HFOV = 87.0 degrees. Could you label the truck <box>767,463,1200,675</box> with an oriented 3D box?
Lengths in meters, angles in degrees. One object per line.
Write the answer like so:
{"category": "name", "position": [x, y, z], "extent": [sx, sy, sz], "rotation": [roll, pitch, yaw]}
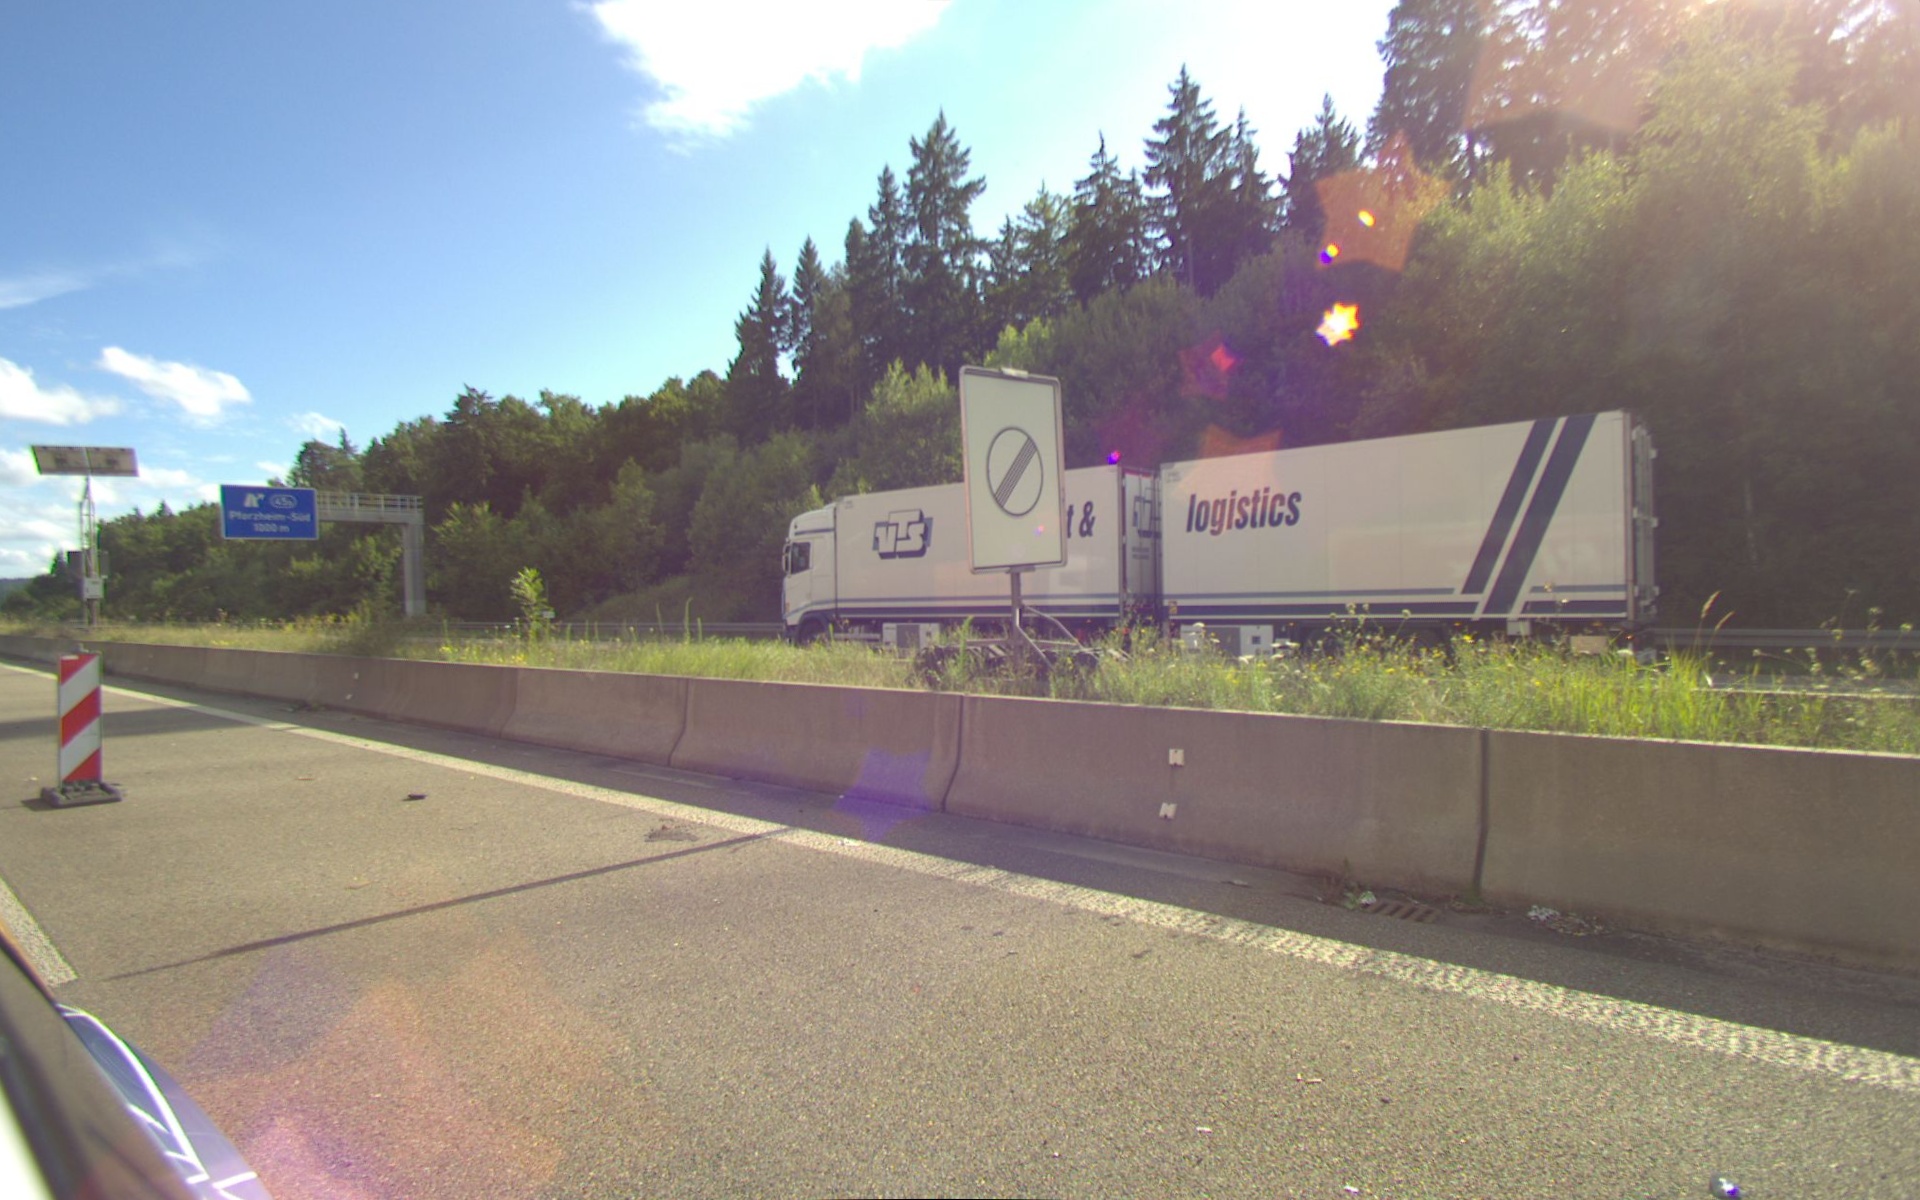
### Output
{"category": "truck", "position": [0.021, -0.560, 23.790], "extent": [10.855, 4.015, 2.754], "rotation": [-1, 0, 41]}

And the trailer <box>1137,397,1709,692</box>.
{"category": "trailer", "position": [7.461, -0.720, 17.361], "extent": [8.483, 3.953, 2.762], "rotation": [-1, 0, 41]}
